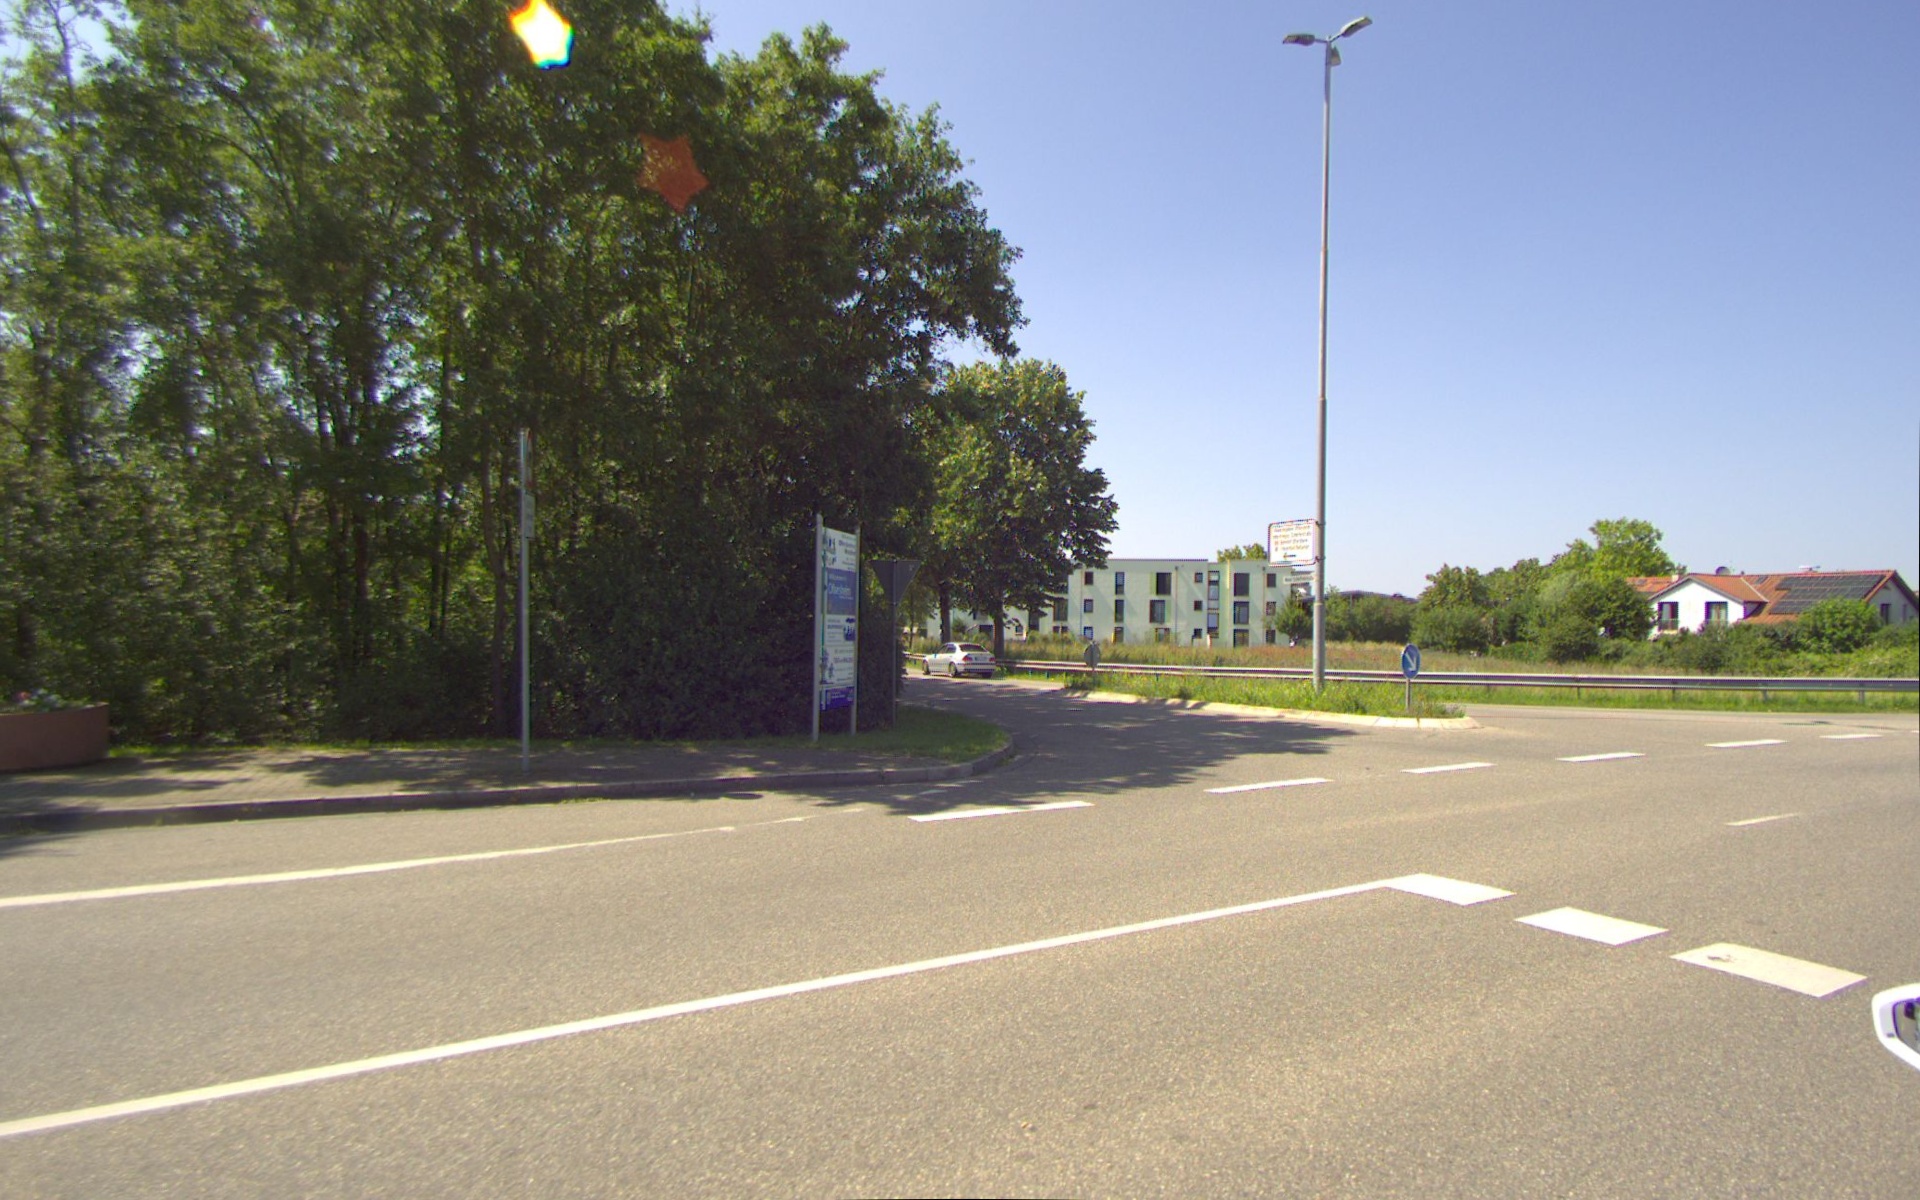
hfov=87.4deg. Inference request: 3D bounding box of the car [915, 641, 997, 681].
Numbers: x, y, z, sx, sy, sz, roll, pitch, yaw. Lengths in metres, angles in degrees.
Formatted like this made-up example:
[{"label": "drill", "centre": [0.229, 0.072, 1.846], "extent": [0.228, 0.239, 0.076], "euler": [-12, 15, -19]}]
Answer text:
[{"label": "car", "centre": [-0.240, 2.504, 41.735], "extent": [1.620, 1.490, 4.386], "euler": [1, -2, -27]}]
